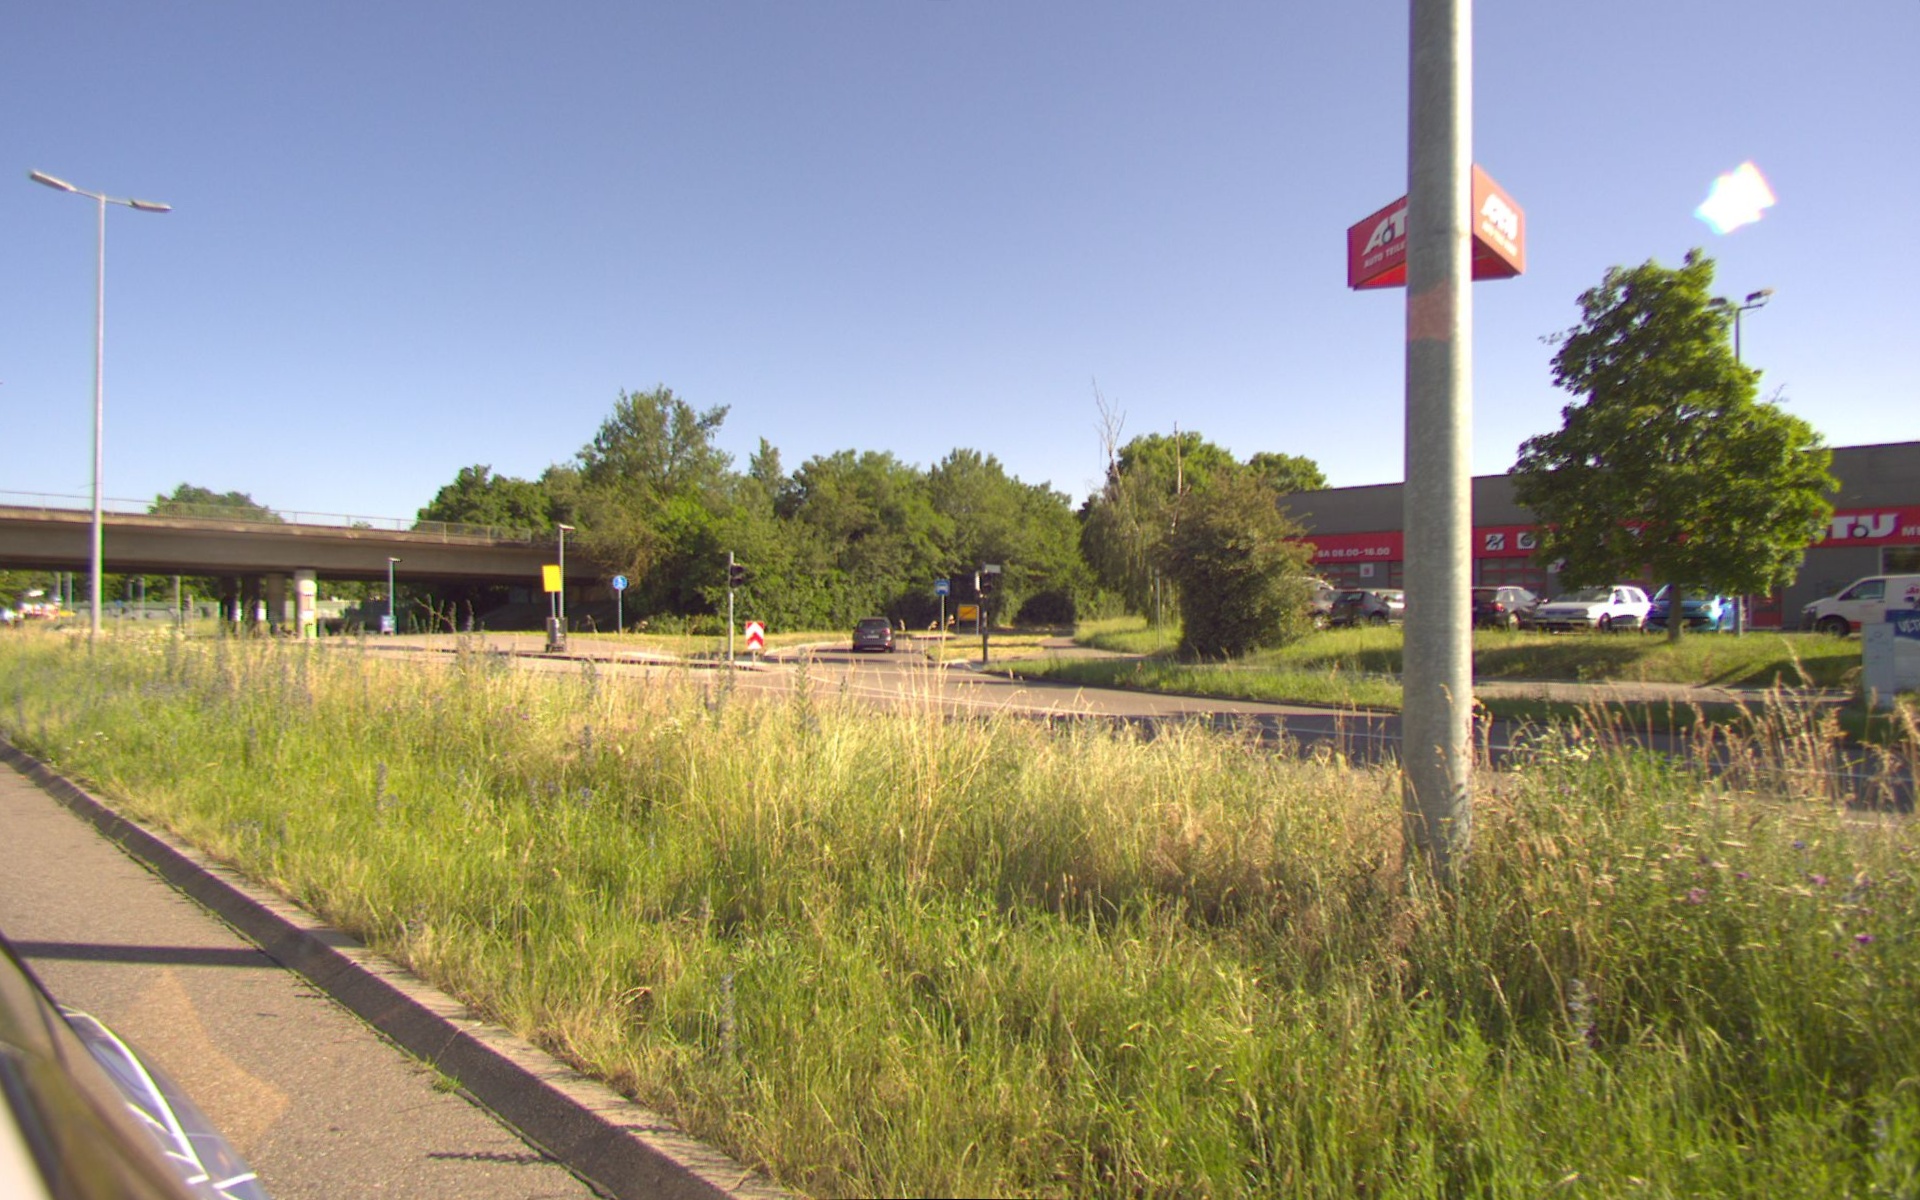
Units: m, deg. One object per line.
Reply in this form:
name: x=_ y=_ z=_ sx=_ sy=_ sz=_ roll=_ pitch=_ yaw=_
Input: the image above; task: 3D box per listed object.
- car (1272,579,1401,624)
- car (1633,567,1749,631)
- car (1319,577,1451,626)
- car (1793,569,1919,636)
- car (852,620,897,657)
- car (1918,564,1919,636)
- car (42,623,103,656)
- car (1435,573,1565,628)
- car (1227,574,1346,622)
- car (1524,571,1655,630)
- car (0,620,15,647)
car: x=13.673 y=0.064 z=36.822 sx=4.061 sy=1.563 sz=1.901 roll=0 pitch=-1 yaw=-18
car: x=19.540 y=0.007 z=26.980 sx=4.070 sy=1.563 sz=1.820 roll=1 pitch=-2 yaw=-44
car: x=14.237 y=0.082 z=33.892 sx=4.060 sy=1.563 sz=1.902 roll=0 pitch=-1 yaw=-27
car: x=28.665 y=0.092 z=30.664 sx=5.132 sy=1.971 sz=1.759 roll=-1 pitch=-2 yaw=45
car: x=-3.652 y=1.575 z=42.507 sx=1.758 sy=1.436 sz=4.388 roll=1 pitch=-1 yaw=-6
car: x=22.856 y=0.007 z=22.714 sx=1.947 sy=1.563 sz=4.072 roll=-1 pitch=-2 yaw=43
car: x=-41.369 y=1.807 z=47.153 sx=4.101 sy=1.455 sz=1.615 roll=-1 pitch=-1 yaw=41
car: x=16.349 y=0.044 z=30.605 sx=4.064 sy=1.563 sz=1.900 roll=1 pitch=-1 yaw=-37
car: x=15.093 y=-0.056 z=47.025 sx=4.990 sy=2.168 sz=1.890 roll=0 pitch=-1 yaw=9
car: x=17.880 y=0.042 z=28.691 sx=4.065 sy=1.563 sz=1.899 roll=1 pitch=-1 yaw=-38
car: x=-55.528 y=1.920 z=57.827 sx=3.585 sy=1.541 sz=1.618 roll=-1 pitch=-1 yaw=36
